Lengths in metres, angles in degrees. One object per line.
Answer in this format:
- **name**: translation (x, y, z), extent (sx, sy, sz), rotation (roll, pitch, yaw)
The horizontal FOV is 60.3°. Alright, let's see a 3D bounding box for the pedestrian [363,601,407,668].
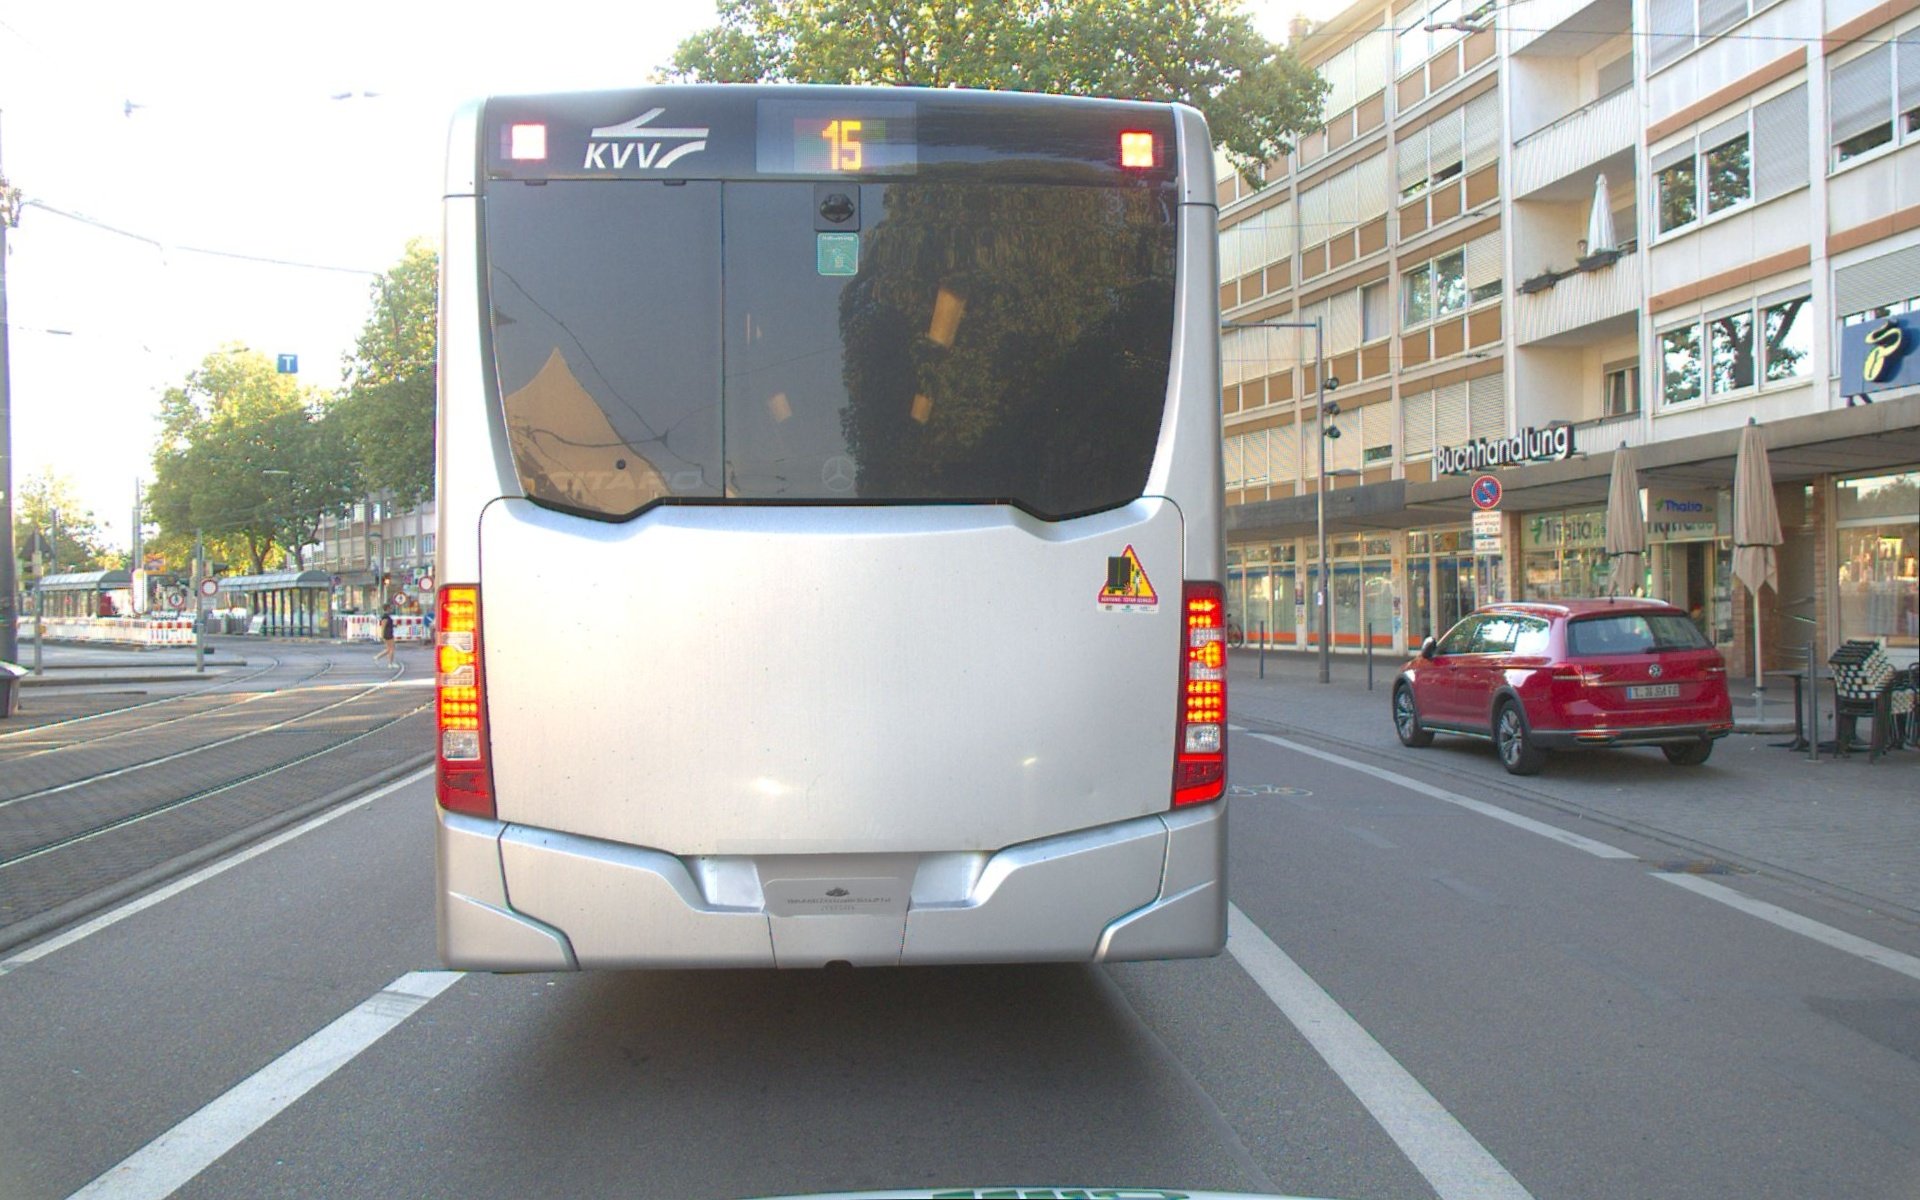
- **pedestrian**: translation (-14.789, 0.897, 42.548), extent (0.977, 1.716, 0.642), rotation (0, -2, -13)

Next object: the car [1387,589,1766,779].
- **car**: translation (5.706, 0.703, 15.945), extent (1.735, 1.508, 4.299), rotation (-2, 0, -4)

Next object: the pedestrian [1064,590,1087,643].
- **pedestrian**: translation (3.660, 0.515, 52.506), extent (0.527, 1.677, 0.612), rotation (-1, 0, -18)

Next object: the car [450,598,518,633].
- **car**: translation (-25.293, 0.817, 87.805), extent (1.982, 1.823, 3.940), rotation (1, -1, -41)

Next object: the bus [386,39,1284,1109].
- **bus**: translation (-0.431, -0.060, 9.791), extent (2.577, 3.081, 9.995), rotation (0, 0, -1)

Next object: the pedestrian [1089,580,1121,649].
- **pedestrian**: translation (3.742, 0.375, 42.595), extent (0.634, 1.747, 0.557), rotation (-1, 0, -17)

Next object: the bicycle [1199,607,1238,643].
- **bicycle**: translation (7.148, 0.688, 45.739), extent (0.406, 0.961, 1.431), rotation (-1, 0, -20)
